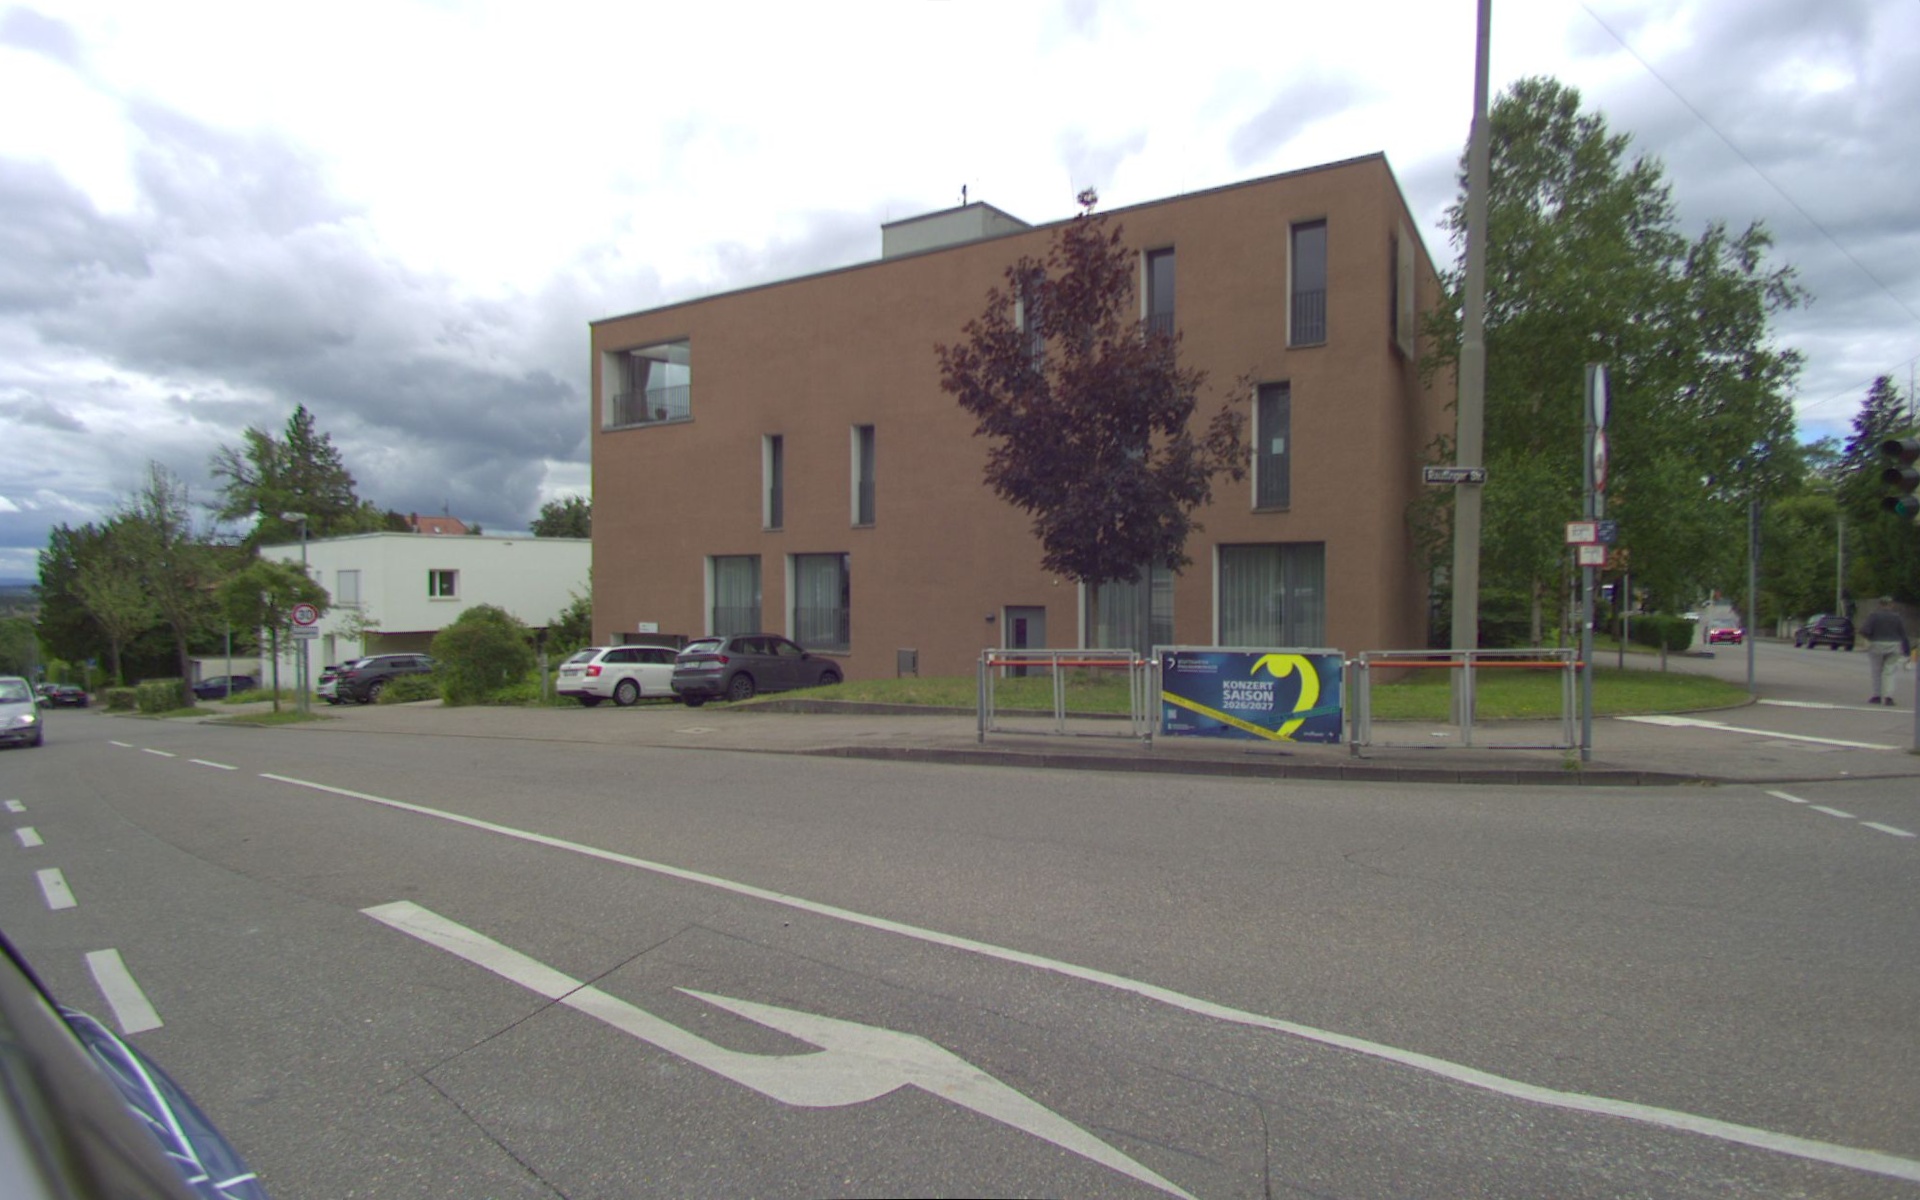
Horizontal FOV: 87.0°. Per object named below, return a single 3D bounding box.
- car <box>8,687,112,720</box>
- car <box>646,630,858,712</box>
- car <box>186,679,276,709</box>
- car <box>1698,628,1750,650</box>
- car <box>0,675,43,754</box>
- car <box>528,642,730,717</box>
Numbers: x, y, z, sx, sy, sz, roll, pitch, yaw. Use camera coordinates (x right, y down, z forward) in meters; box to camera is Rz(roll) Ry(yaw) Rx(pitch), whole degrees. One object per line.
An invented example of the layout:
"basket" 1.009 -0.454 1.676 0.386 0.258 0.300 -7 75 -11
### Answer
"car" -53.521 6.096 60.239 1.998 1.570 4.379 -3 -2 39
"car" -4.538 1.503 22.628 1.998 1.570 4.379 -3 -2 39
"car" -47.373 6.073 65.801 1.998 1.570 4.379 -3 -2 39
"car" 48.133 2.442 63.846 1.991 1.209 3.962 -1 0 28
"car" -21.829 2.595 22.594 1.970 1.608 4.004 -2 -3 -43
"car" -8.093 1.890 25.035 1.998 1.570 4.379 -3 -2 39
